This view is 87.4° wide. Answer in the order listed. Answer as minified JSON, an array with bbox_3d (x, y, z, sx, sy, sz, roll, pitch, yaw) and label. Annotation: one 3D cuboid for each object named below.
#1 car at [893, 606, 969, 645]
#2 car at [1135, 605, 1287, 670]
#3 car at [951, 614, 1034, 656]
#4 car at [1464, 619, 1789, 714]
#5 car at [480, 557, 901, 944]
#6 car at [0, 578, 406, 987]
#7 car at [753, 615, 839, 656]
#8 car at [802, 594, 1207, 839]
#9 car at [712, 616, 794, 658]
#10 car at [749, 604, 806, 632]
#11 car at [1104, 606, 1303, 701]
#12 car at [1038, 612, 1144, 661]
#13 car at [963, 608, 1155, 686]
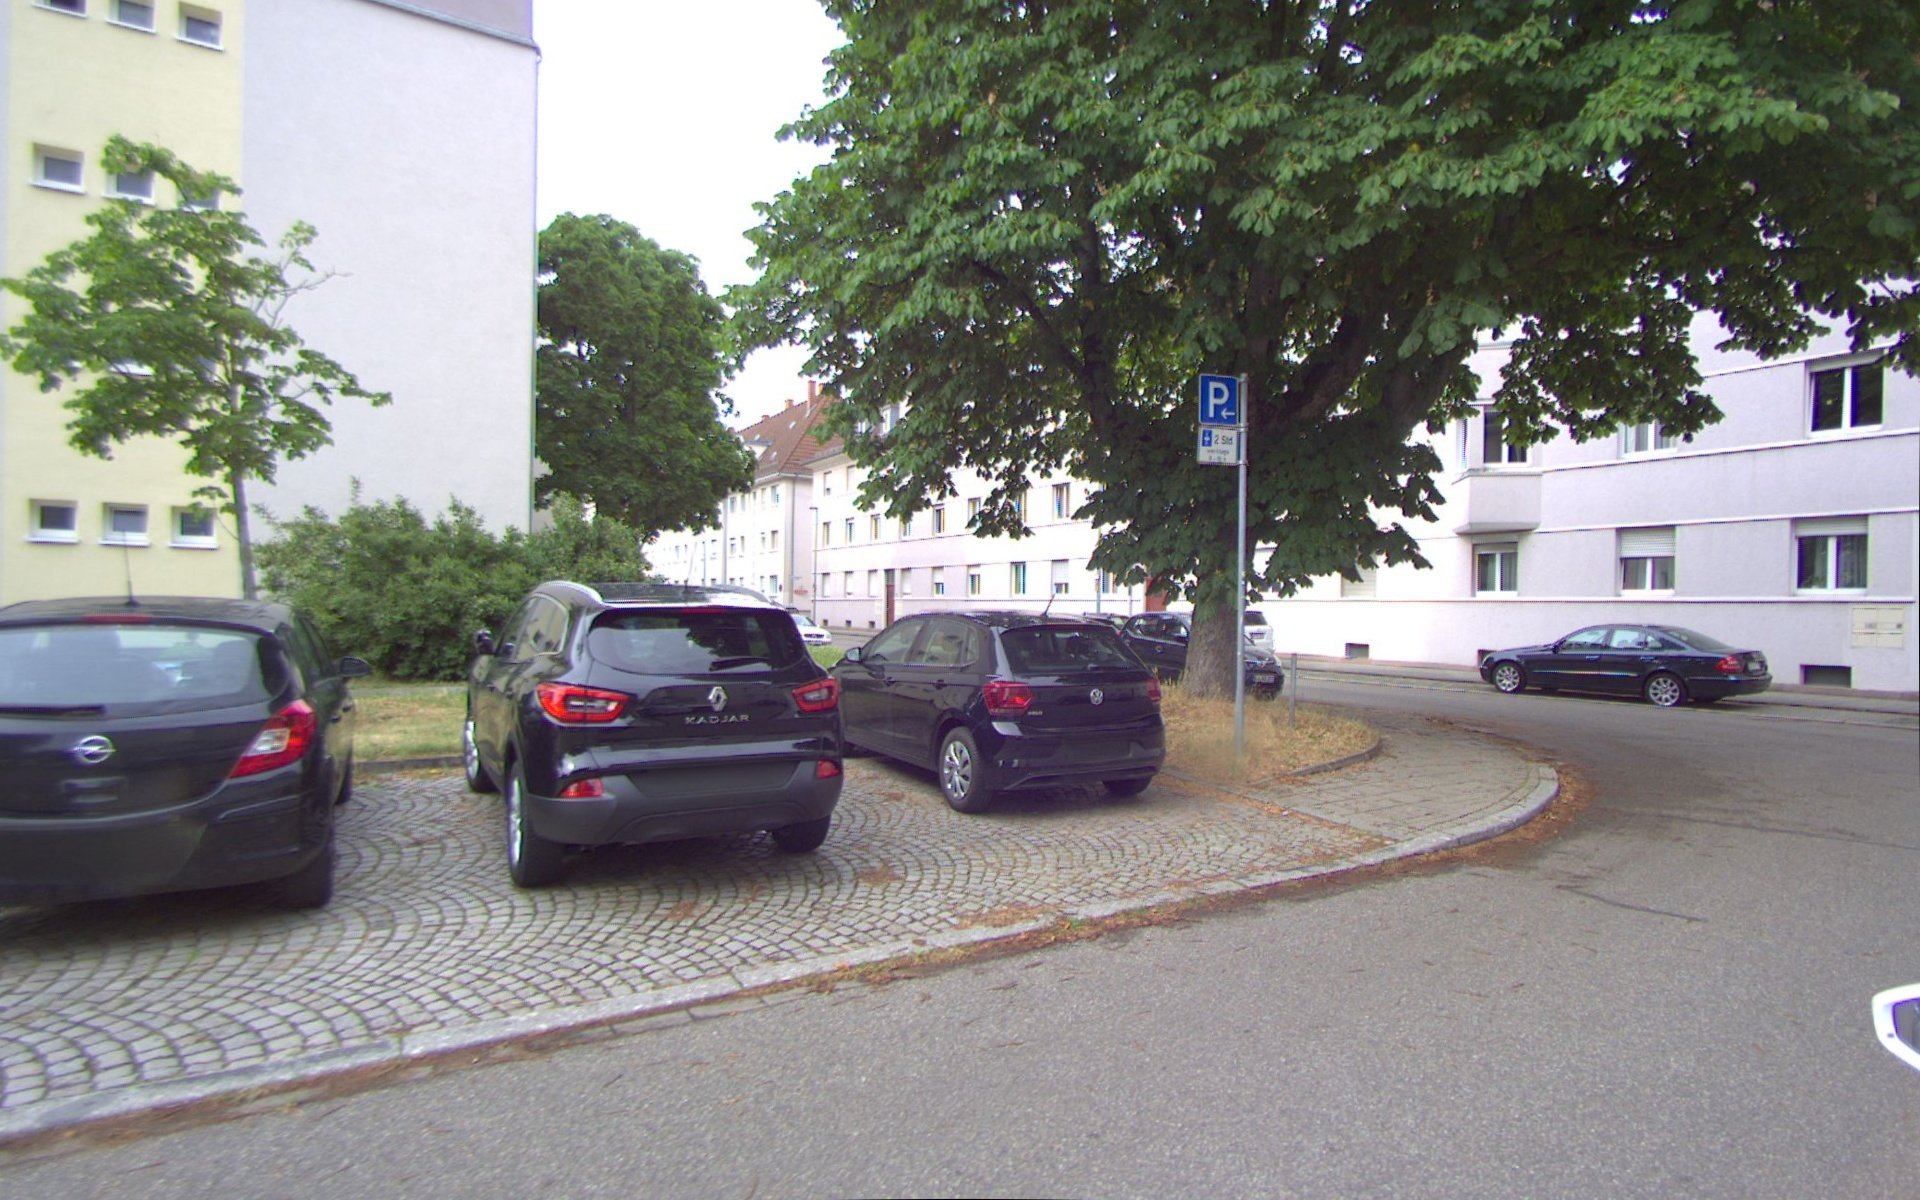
[{"bbox_3d":[-1.287,1.069,43.228,1.682,1.546,3.794,0,0,-30],"label":"car"},{"bbox_3d":[7.247,1.031,29.369,1.828,1.696,4.251,0,0,-32],"label":"car"},{"bbox_3d":[1.204,1.303,38.885,1.553,1.493,3.668,1,0,-29],"label":"car"},{"bbox_3d":[12.462,1.155,19.176,1.731,1.440,4.906,0,0,-32],"label":"car"},{"bbox_3d":[-2.086,0.656,6.707,1.892,1.720,4.040,2,0,-27],"label":"car"},{"bbox_3d":[-4.465,0.695,6.009,1.818,1.587,4.326,2,0,-27],"label":"car"},{"bbox_3d":[-5.917,1.231,35.859,1.683,1.275,3.982,3,-1,-30],"label":"car"},{"bbox_3d":[0.135,0.774,8.678,1.808,1.598,3.814,1,0,-28],"label":"car"},{"bbox_3d":[-8.409,1.467,40.515,1.827,1.440,4.591,3,-1,-30],"label":"car"},{"bbox_3d":[-10.819,1.030,59.297,1.741,1.487,4.560,2,-1,-32],"label":"car"},{"bbox_3d":[4.320,0.919,18.315,1.511,1.513,3.565,4,-2,-28],"label":"car"},{"bbox_3d":[4.375,1.189,34.016,1.553,1.498,3.840,1,0,-30],"label":"car"},{"bbox_3d":[2.092,0.996,22.804,1.852,1.483,4.796,4,-2,-30],"label":"car"}]
